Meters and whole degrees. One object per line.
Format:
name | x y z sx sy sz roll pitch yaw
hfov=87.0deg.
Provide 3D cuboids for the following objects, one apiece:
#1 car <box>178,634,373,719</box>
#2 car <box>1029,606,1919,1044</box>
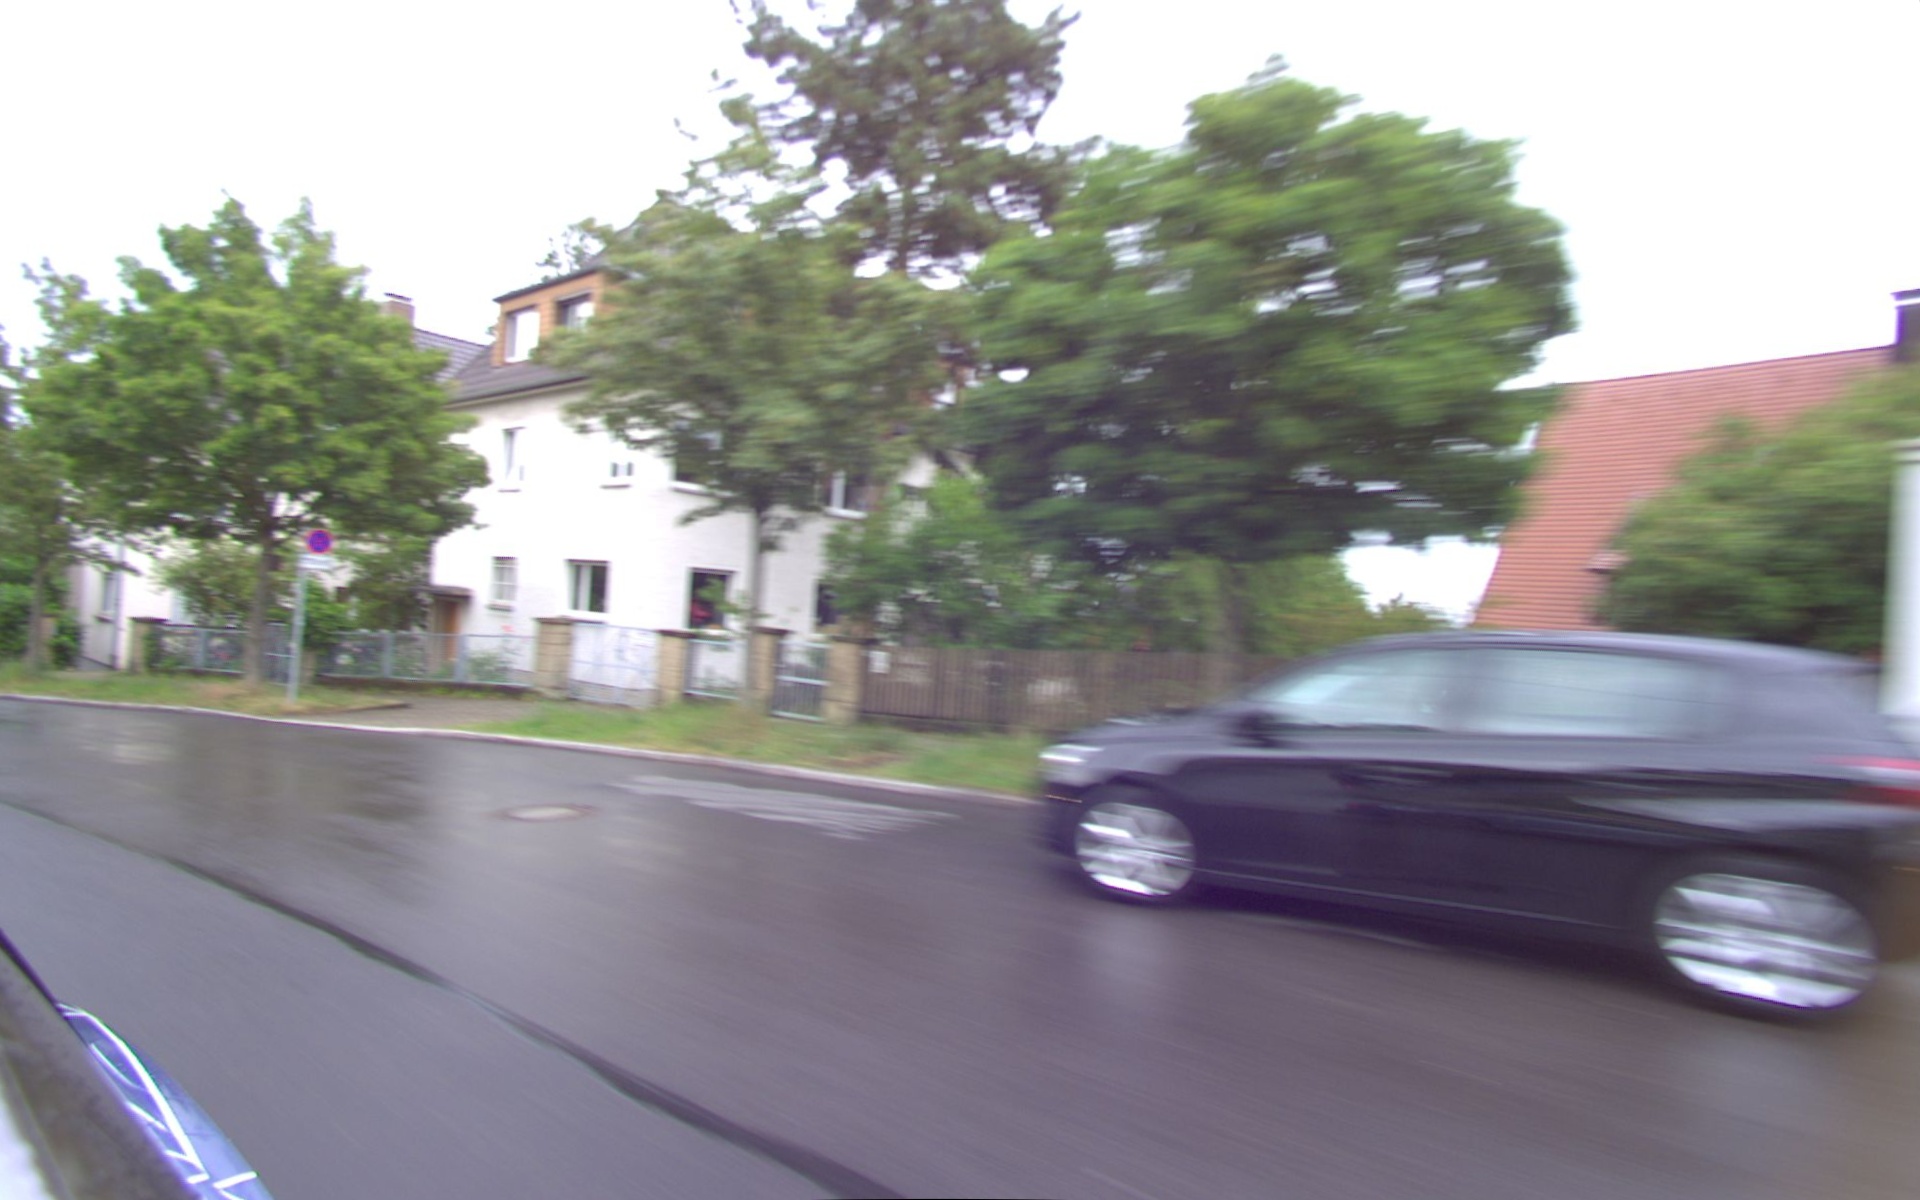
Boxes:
car | -18.885 2.140 28.053 1.855 1.595 3.947 -1 -14 42
car | 2.436 0.819 5.011 3.885 1.477 1.656 -1 -4 35
